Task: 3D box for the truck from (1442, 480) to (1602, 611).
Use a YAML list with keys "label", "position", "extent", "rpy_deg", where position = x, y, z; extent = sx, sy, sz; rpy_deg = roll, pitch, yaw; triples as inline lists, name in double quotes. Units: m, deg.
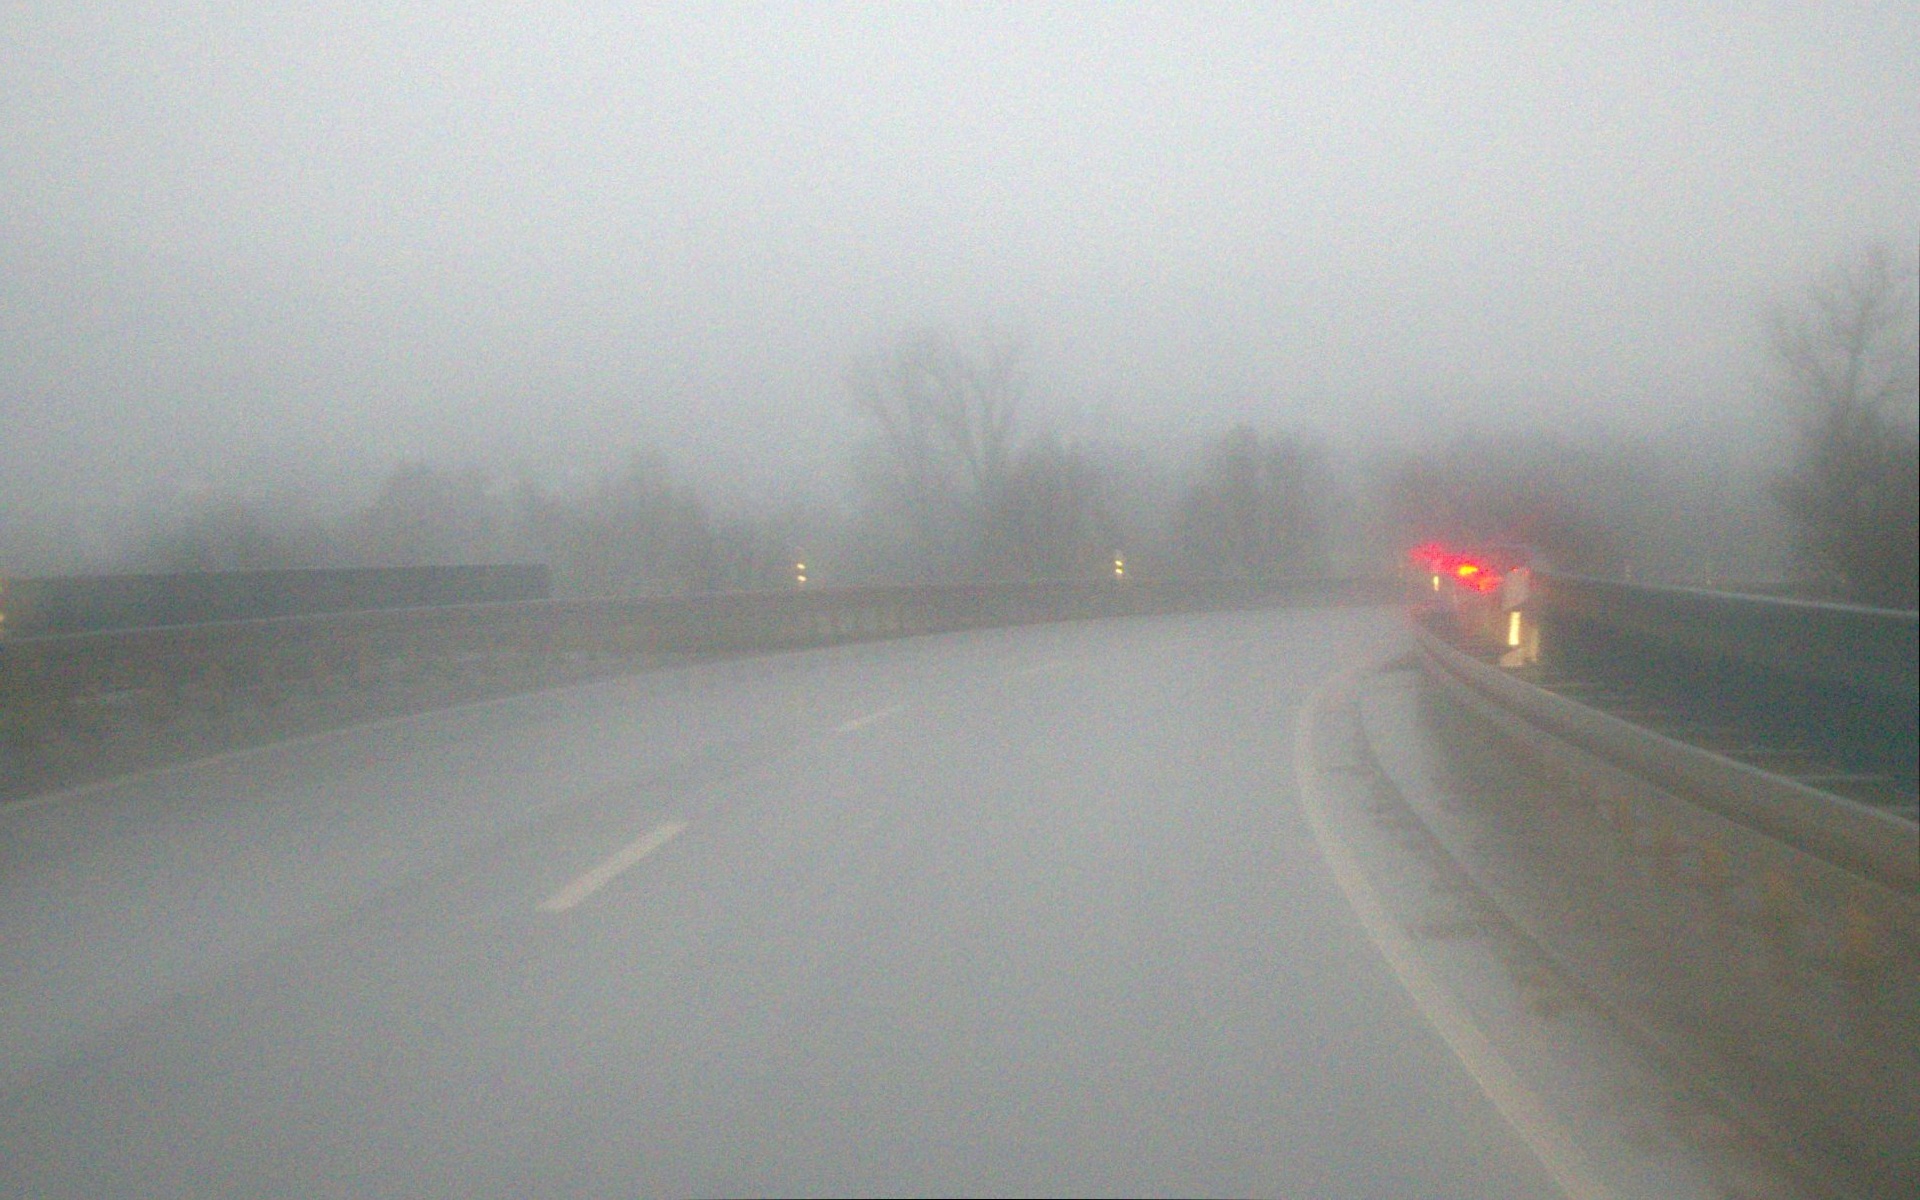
- label: "truck"
  position: [12.914, -1.245, 78.669]
  extent: [2.534, 2.859, 5.916]
  rpy_deg: [1, 1, 20]
